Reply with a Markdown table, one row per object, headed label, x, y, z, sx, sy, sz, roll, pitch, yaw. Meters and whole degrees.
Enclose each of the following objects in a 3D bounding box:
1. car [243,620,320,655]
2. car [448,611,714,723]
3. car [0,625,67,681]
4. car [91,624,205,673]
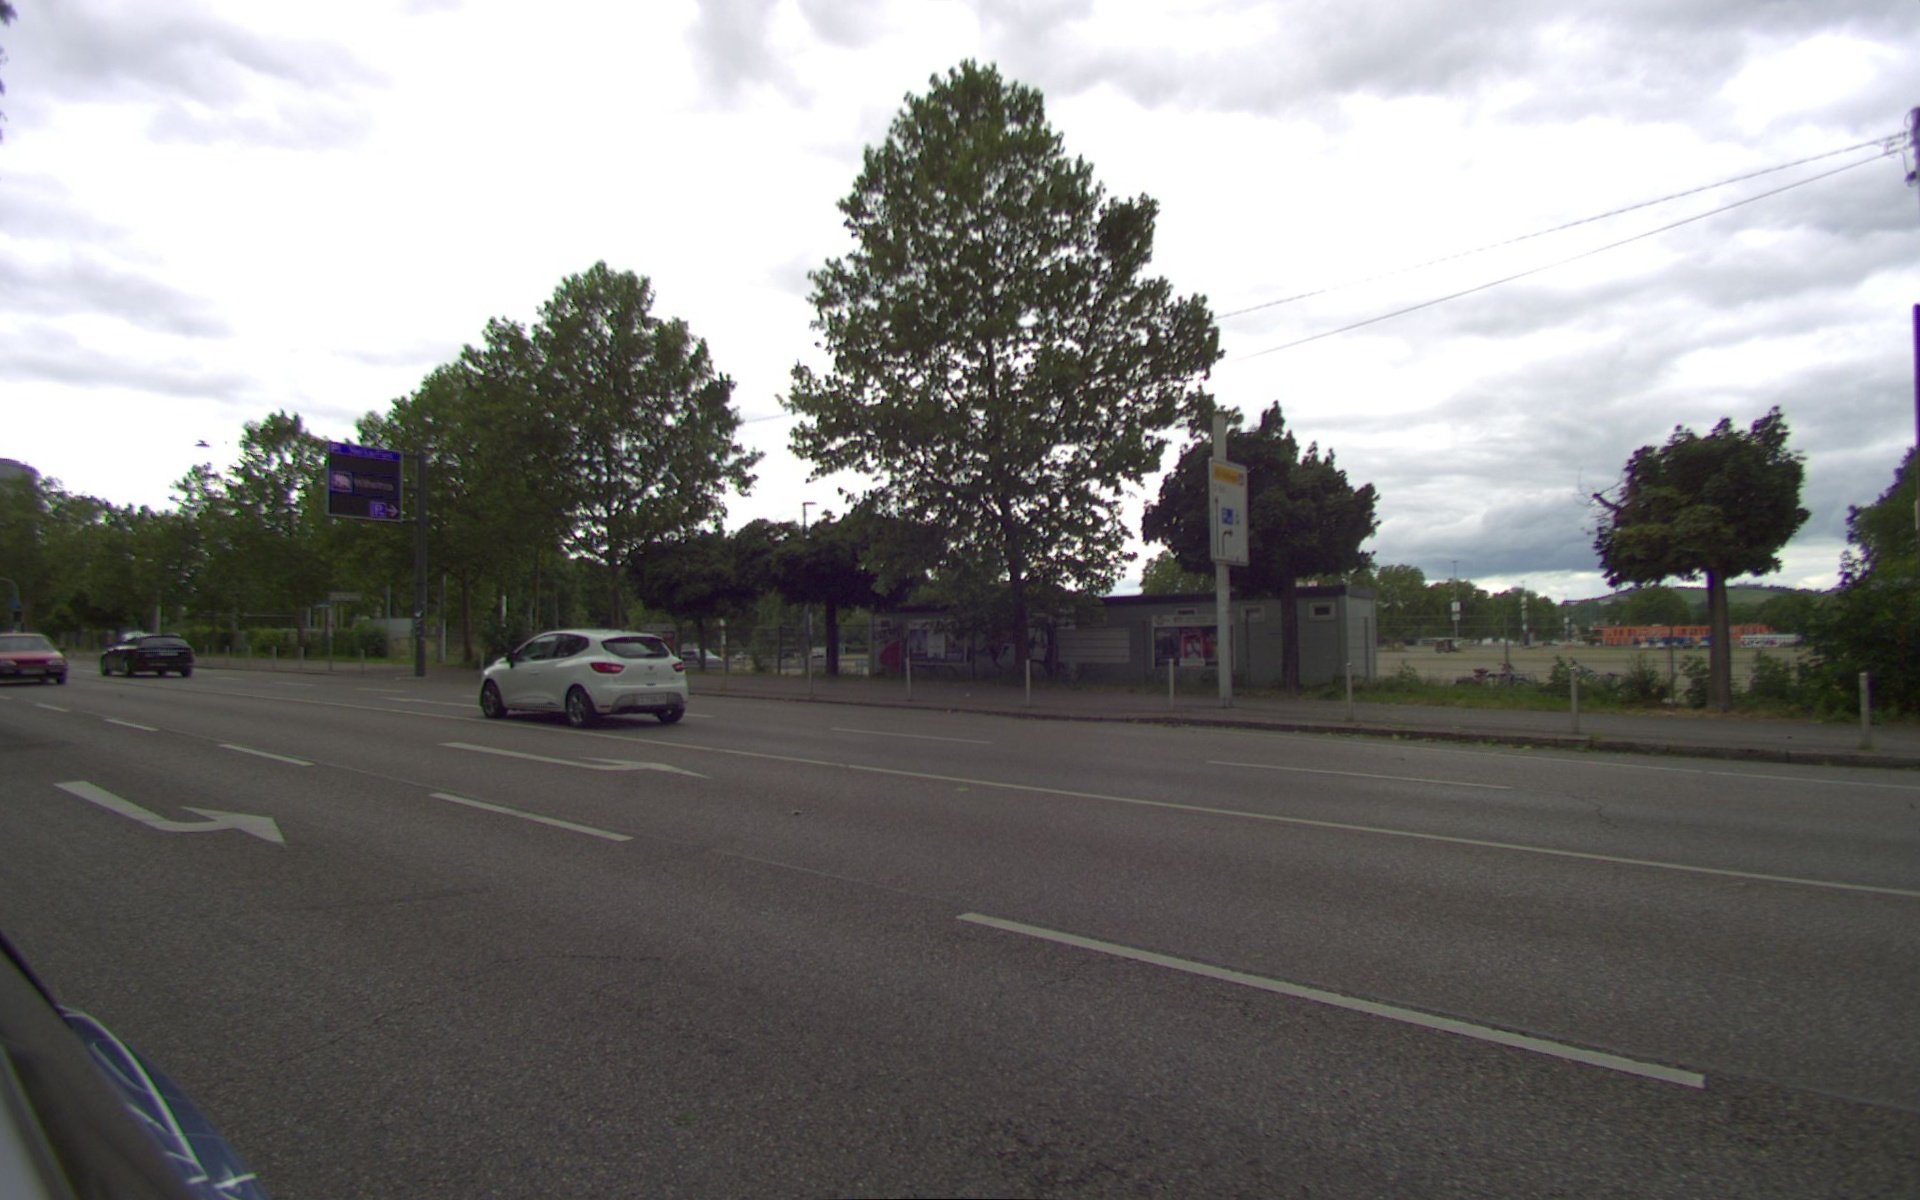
| label | x | y | z | sx | sy | sz | roll | pitch | yaw |
| --- | --- | --- | --- | --- | --- | --- | --- | --- | --- |
| car | -41.601 | 2.297 | 62.000 | 4.625 | 2.029 | 2.366 | -1 | -3 | 35 |
| car | -6.121 | 1.015 | 16.135 | 4.379 | 1.542 | 1.974 | -2 | -4 | 38 |
| car | -26.645 | 1.465 | 28.591 | 4.078 | 1.463 | 1.808 | -2 | -2 | 44 |
| car | -27.790 | 1.640 | 34.580 | 4.719 | 1.542 | 1.974 | -1 | -3 | 38 |
